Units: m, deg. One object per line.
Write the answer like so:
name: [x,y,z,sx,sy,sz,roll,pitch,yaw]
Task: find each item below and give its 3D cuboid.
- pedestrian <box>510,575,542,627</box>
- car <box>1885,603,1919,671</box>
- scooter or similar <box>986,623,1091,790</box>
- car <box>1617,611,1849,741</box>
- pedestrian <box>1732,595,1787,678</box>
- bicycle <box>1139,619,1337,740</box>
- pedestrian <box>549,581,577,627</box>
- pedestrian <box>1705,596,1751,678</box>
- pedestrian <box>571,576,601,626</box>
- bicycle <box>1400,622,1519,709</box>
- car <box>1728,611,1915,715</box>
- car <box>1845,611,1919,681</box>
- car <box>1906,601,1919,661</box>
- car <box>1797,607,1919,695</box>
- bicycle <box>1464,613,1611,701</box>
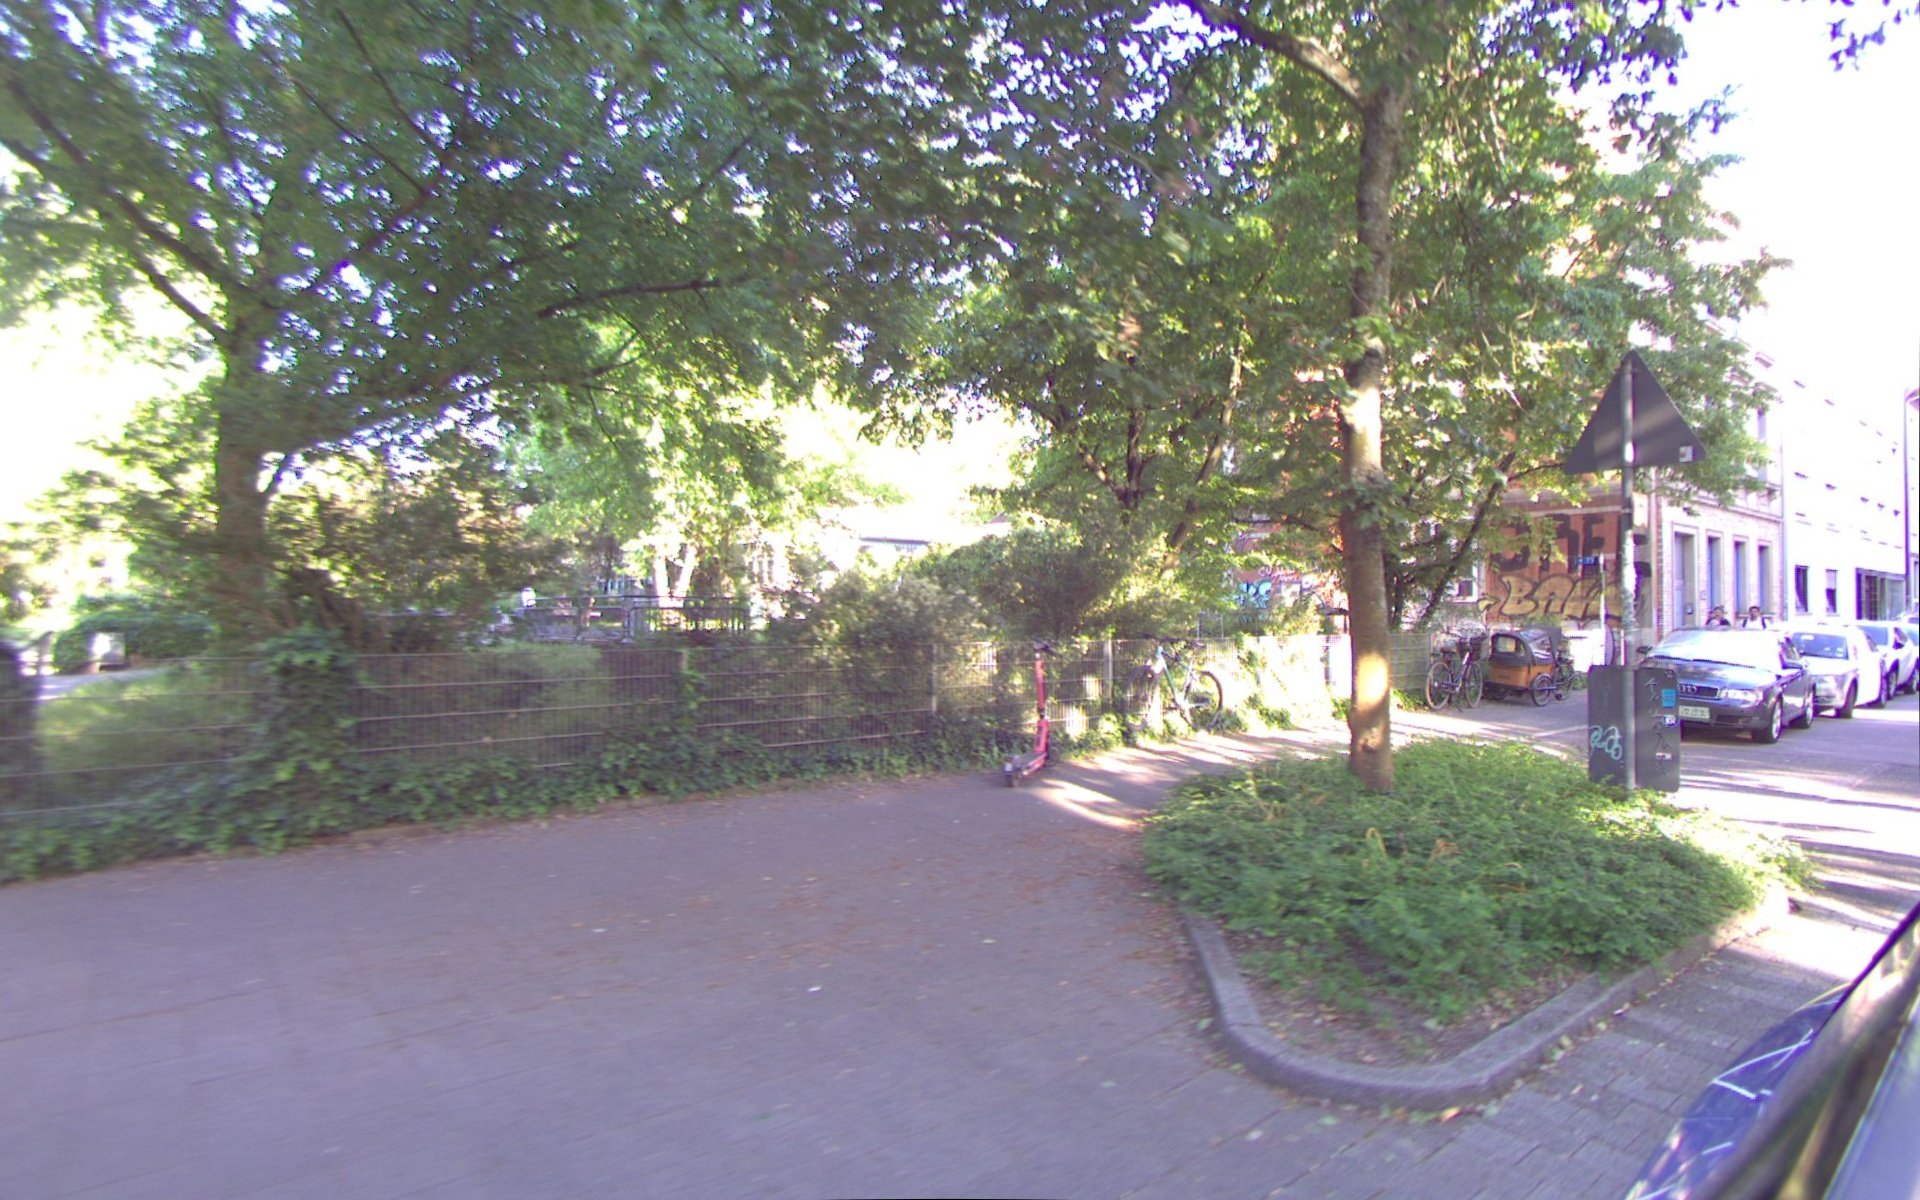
pedestrian: [-17.149,0.036,39.979,0.896,2.039,0.747,0,0,8]
car: [25.779,0.945,26.353,4.248,1.688,1.771,1,0,-37]
scooter or similar: [0.718,0.873,8.903,0.539,1.277,1.463,1,0,20]
car: [11.060,0.950,14.368,4.335,1.512,1.724,0,1,-40]
pedestrian: [17.246,0.771,21.840,0.739,1.730,0.712,1,2,-39]
bicycle: [3.351,0.875,12.028,2.642,1.284,0.849,1,-1,-37]
pedestrian: [-17.646,0.182,44.961,0.896,2.039,0.747,0,0,8]
pedestrian: [16.796,0.802,22.132,0.694,1.730,0.599,1,2,-39]
pedestrian: [-15.316,0.048,41.509,0.896,2.039,0.747,0,0,8]
bicycle: [7.592,0.955,15.362,1.945,1.216,0.849,1,-1,-37]
car: [14.932,0.988,17.463,4.274,1.512,1.663,0,1,-39]
car: [21.943,1.020,23.480,3.933,1.469,1.596,0,1,-41]
car: [29.536,0.922,29.779,4.250,1.687,1.886,0,2,-39]
car: [18.705,0.973,20.820,3.696,1.605,1.597,1,1,-39]
bicycle: [9.667,0.902,16.925,2.283,1.318,1.295,1,1,-36]
